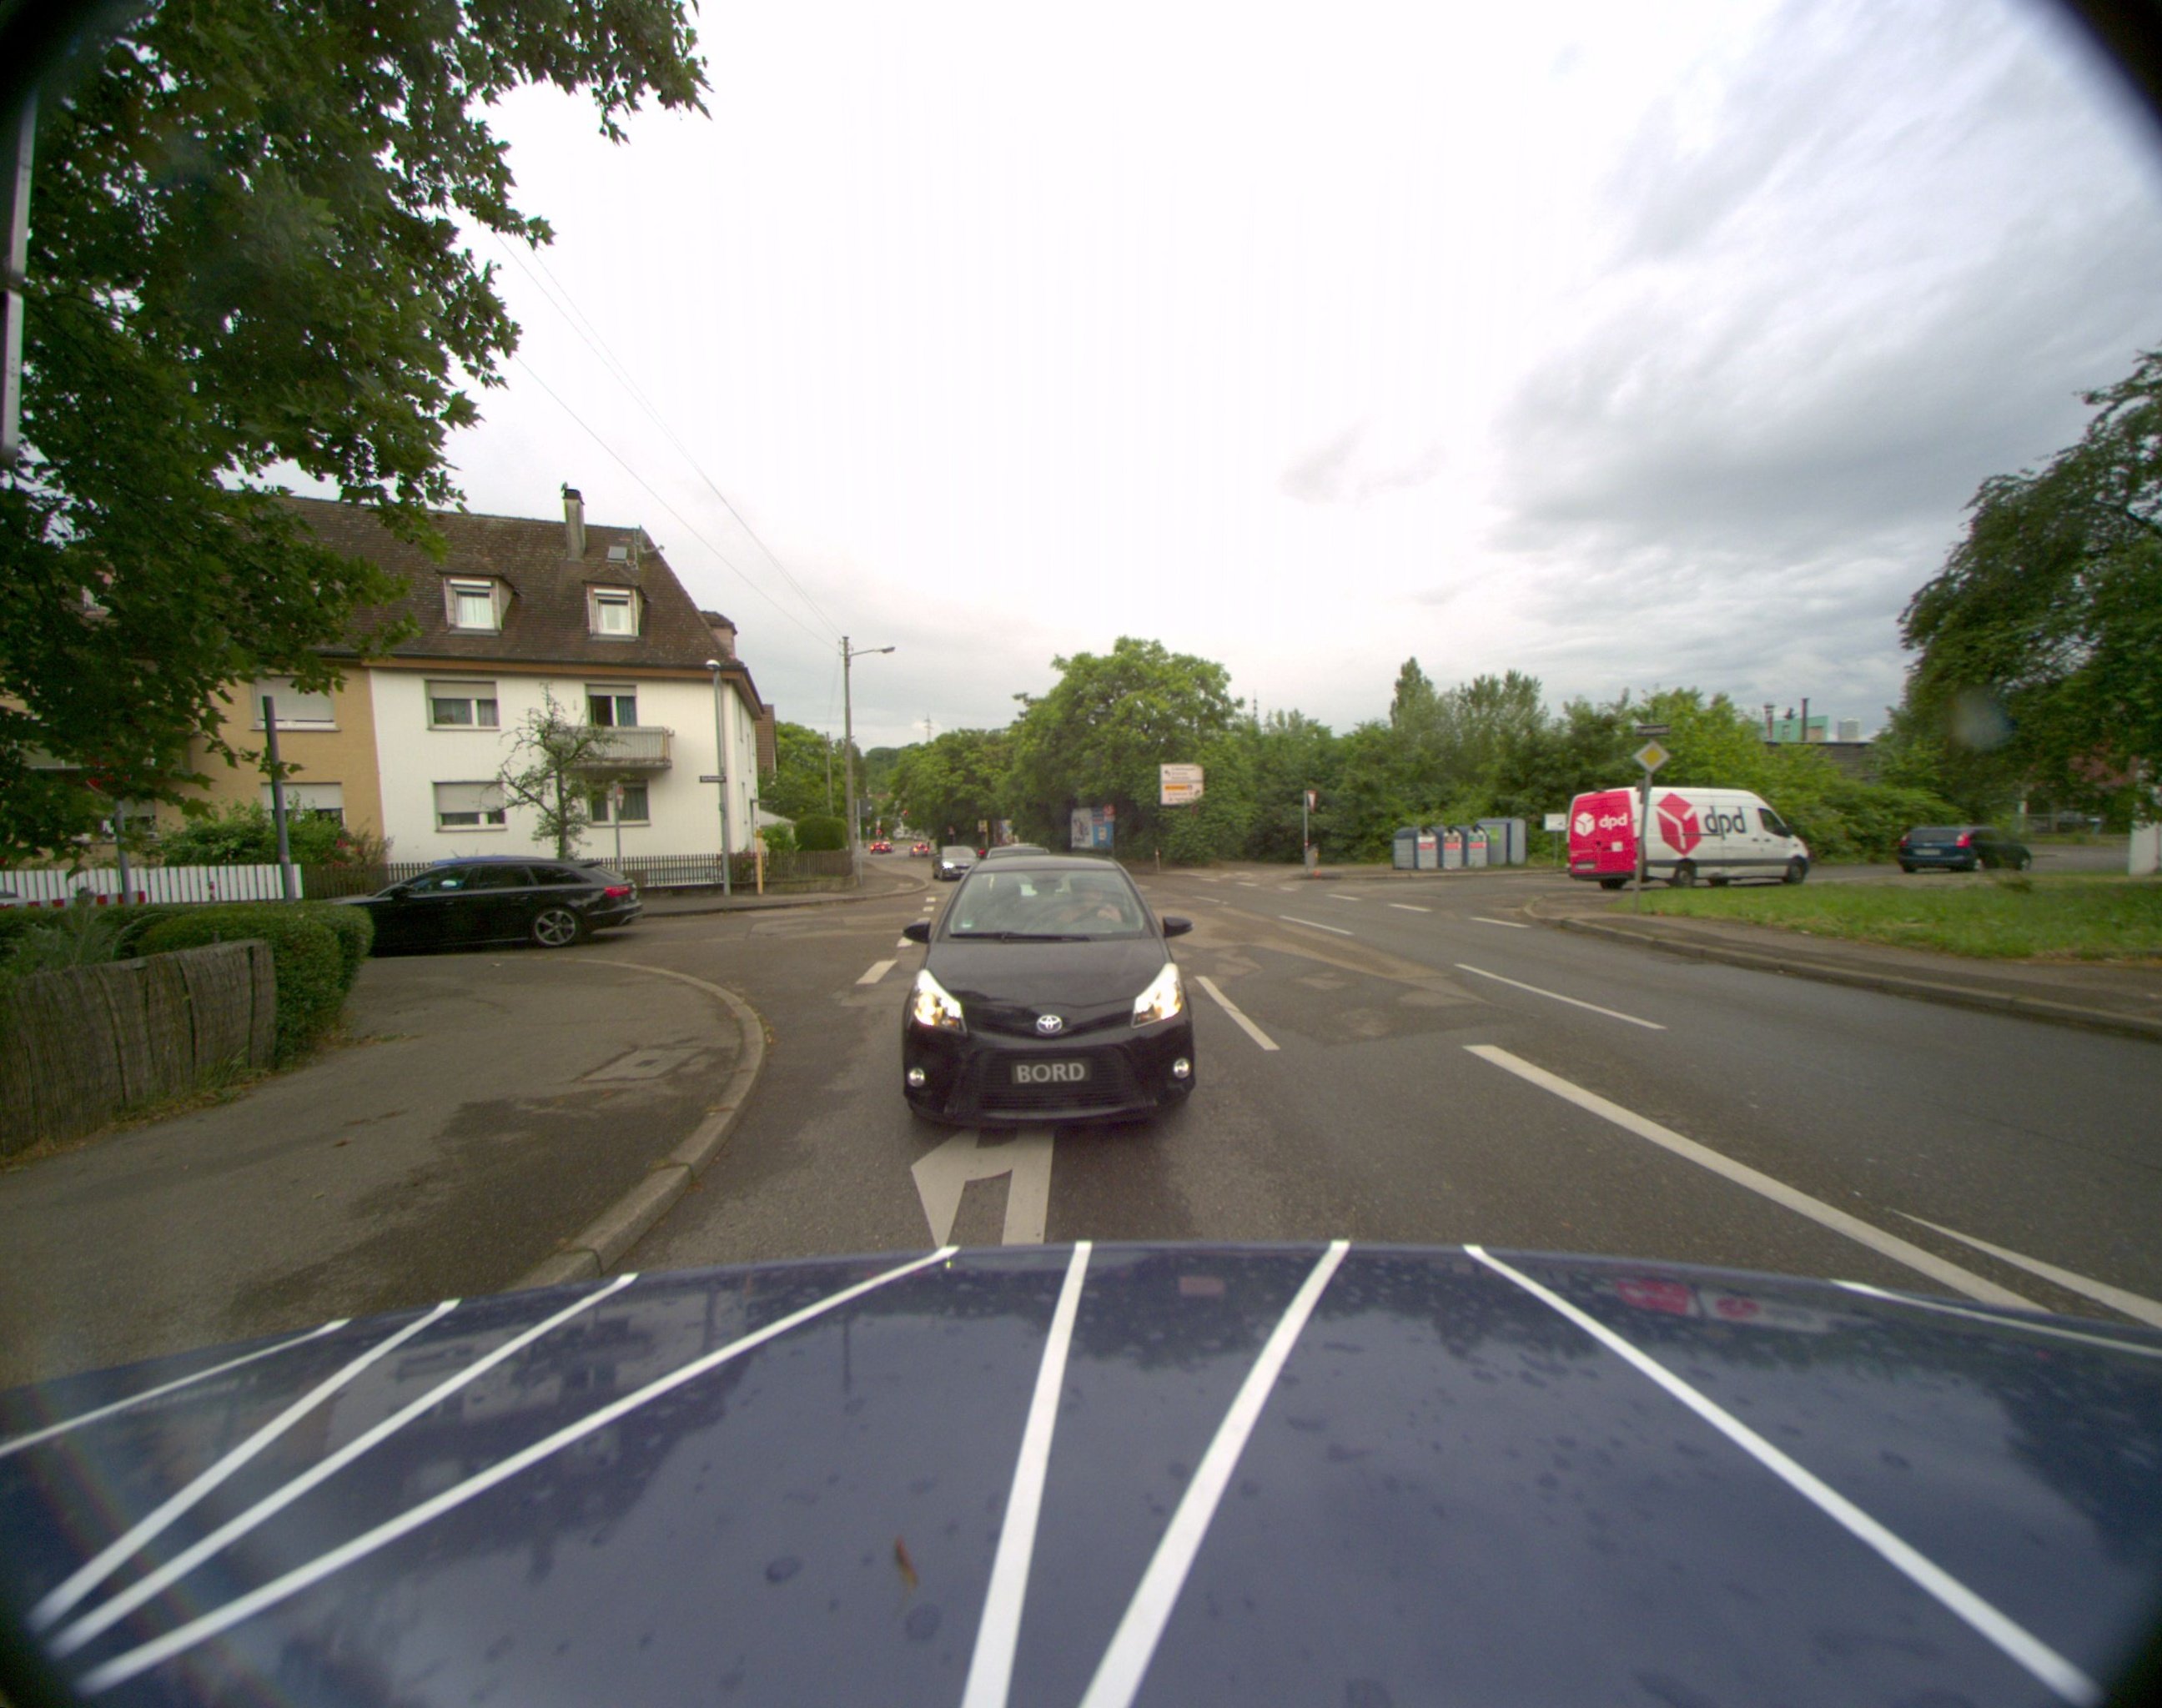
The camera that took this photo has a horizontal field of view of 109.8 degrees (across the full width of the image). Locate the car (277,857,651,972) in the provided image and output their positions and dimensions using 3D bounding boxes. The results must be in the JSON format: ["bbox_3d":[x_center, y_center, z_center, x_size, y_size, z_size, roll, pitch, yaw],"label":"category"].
[{"bbox_3d":[-9.878,0.874,12.694,4.397,1.505,1.996,-2,1,-22],"label":"car"}]

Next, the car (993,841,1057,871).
[{"bbox_3d":[-3.250,0.106,42.878,1.844,1.549,5.562,-2,1,-23],"label":"car"}]

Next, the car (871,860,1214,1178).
[{"bbox_3d":[-0.299,0.820,5.751,1.645,1.450,3.998,-2,0,-4],"label":"car"}]

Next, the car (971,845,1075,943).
[{"bbox_3d":[-1.171,0.623,14.226,1.645,1.549,3.625,-2,1,-7],"label":"car"}]

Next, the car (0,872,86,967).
[{"bbox_3d":[-19.791,1.151,12.072,4.396,1.505,1.996,-2,1,-19],"label":"car"}]

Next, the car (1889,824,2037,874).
[{"bbox_3d":[30.154,-0.185,26.004,4.072,1.521,1.996,-2,1,-20],"label":"car"}]

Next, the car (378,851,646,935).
[{"bbox_3d":[-11.309,0.709,15.488,4.004,1.456,1.857,-1,1,-23],"label":"car"}]

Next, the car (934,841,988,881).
[{"bbox_3d":[-5.218,0.267,32.600,1.709,1.549,3.994,-2,1,-17],"label":"car"}]

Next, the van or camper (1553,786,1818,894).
[{"bbox_3d":[15.879,-0.433,19.935,6.703,2.508,2.219,-2,1,-19],"label":"van or camper"}]
